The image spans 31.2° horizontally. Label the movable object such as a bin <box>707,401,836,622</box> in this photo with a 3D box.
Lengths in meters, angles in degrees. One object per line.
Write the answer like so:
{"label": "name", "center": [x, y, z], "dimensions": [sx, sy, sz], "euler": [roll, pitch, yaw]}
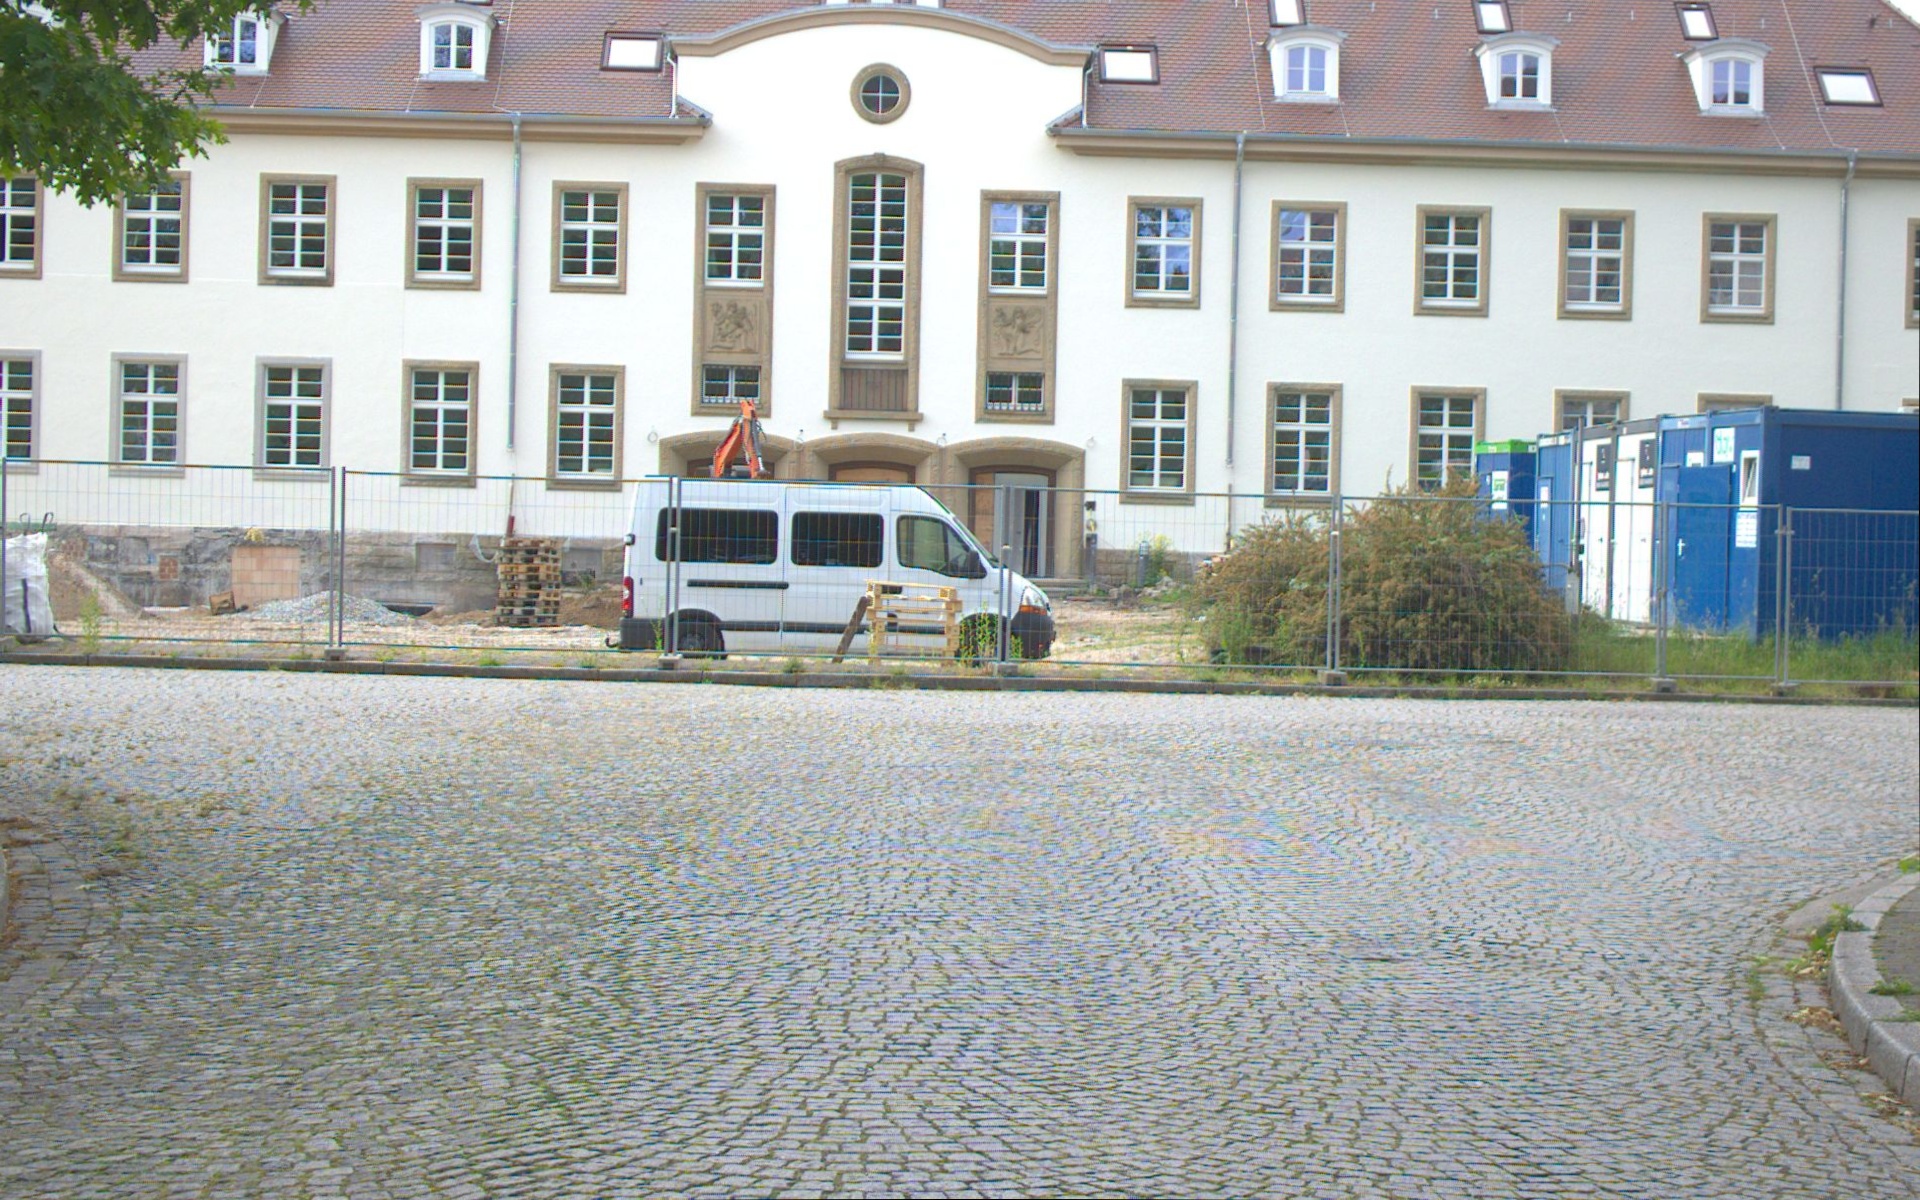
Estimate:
{"label": "movable object such as a bin", "center": [-3.462, -1.574, 62.183], "dimensions": [1.993, 3.758, 5.319], "euler": [2, 1, -5]}

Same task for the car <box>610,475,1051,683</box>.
{"label": "car", "center": [-1.572, -0.270, 42.551], "dimensions": [5.262, 2.336, 1.910], "euler": [2, 1, 0]}
